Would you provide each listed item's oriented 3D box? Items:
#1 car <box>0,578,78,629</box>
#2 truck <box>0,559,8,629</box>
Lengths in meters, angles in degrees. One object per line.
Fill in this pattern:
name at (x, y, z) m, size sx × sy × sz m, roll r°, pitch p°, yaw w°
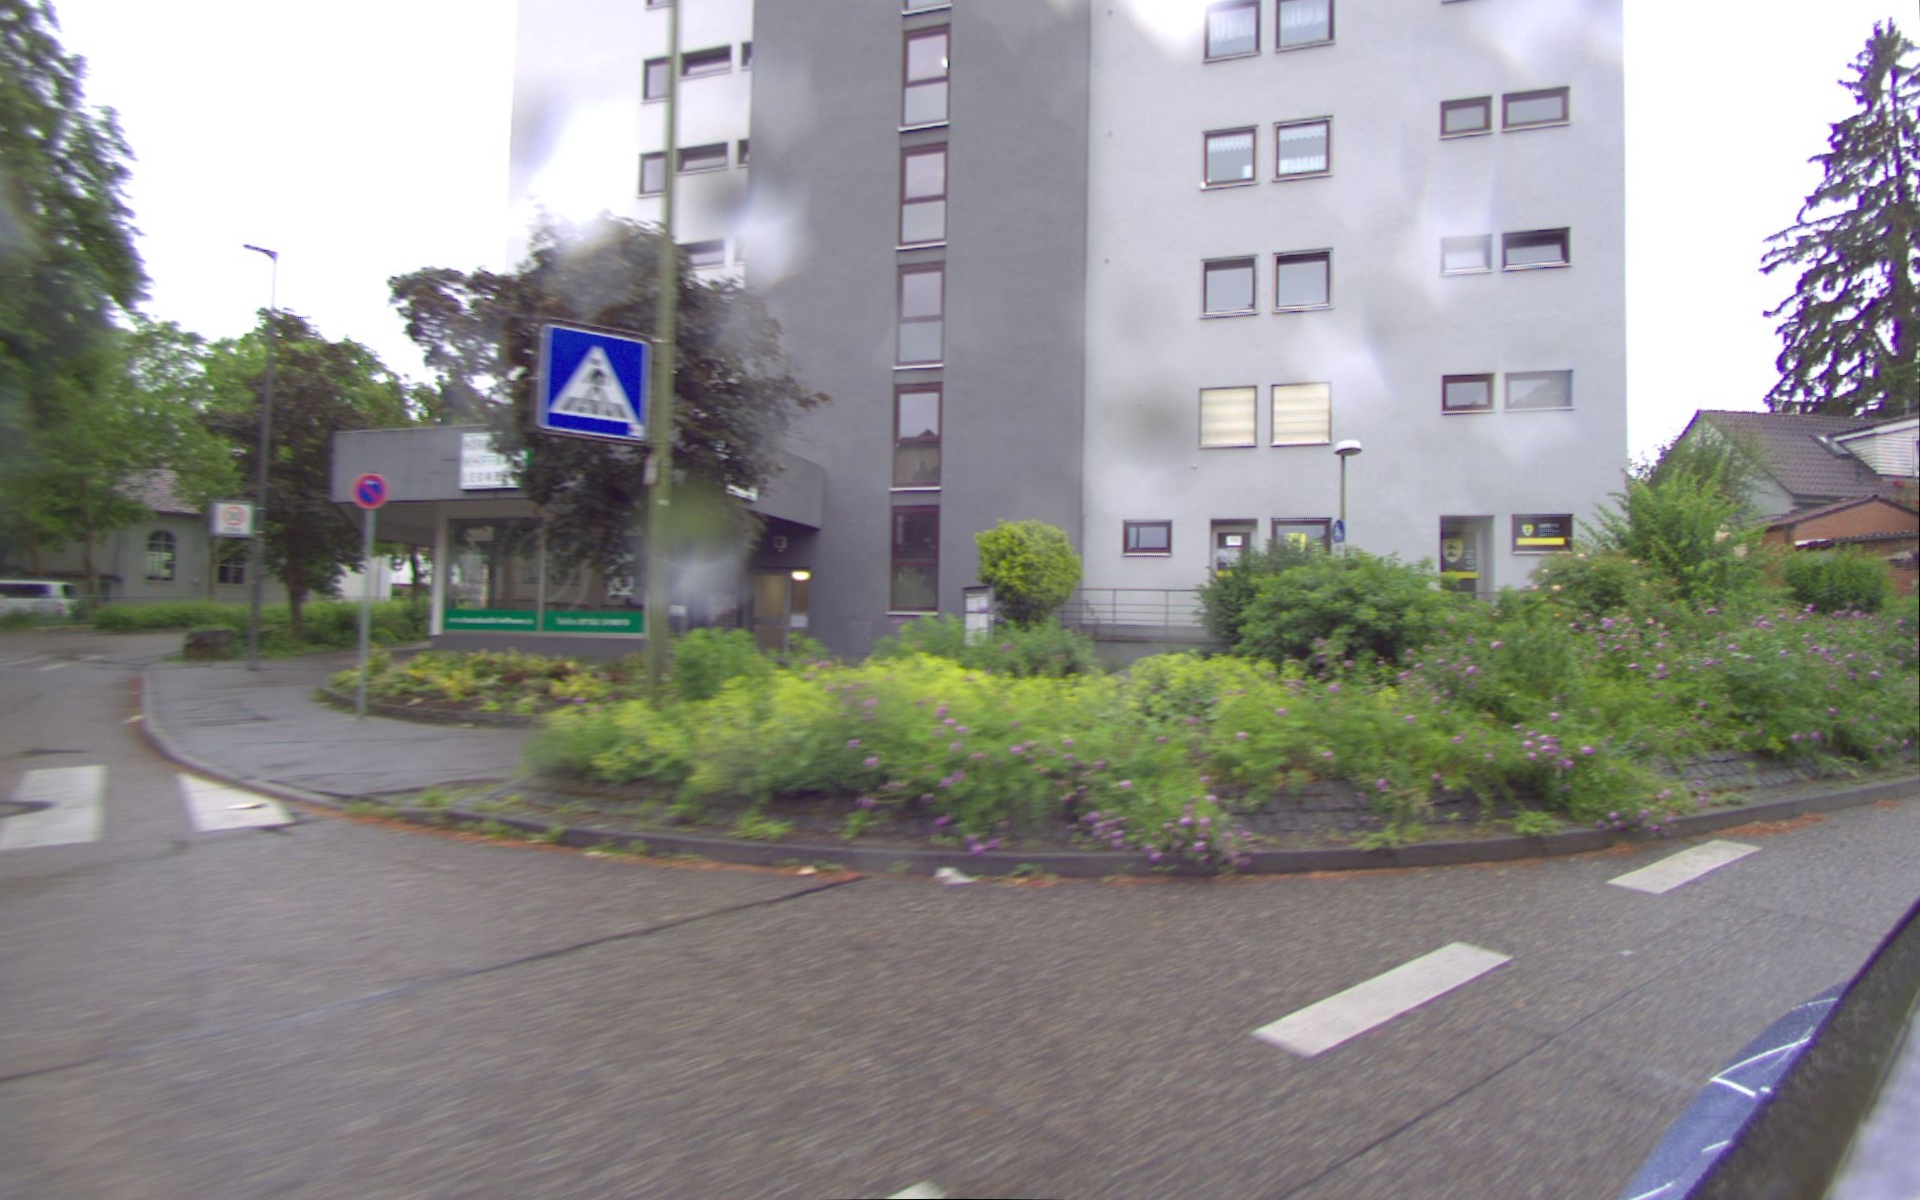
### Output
car at (-36.767, 0.136, 38.973) m, size 3.755 × 1.859 × 1.859 m, roll 2°, pitch -4°, yaw -26°
truck at (-34.384, -0.199, 31.473) m, size 6.548 × 2.304 × 2.311 m, roll 0°, pitch 0°, yaw -24°
